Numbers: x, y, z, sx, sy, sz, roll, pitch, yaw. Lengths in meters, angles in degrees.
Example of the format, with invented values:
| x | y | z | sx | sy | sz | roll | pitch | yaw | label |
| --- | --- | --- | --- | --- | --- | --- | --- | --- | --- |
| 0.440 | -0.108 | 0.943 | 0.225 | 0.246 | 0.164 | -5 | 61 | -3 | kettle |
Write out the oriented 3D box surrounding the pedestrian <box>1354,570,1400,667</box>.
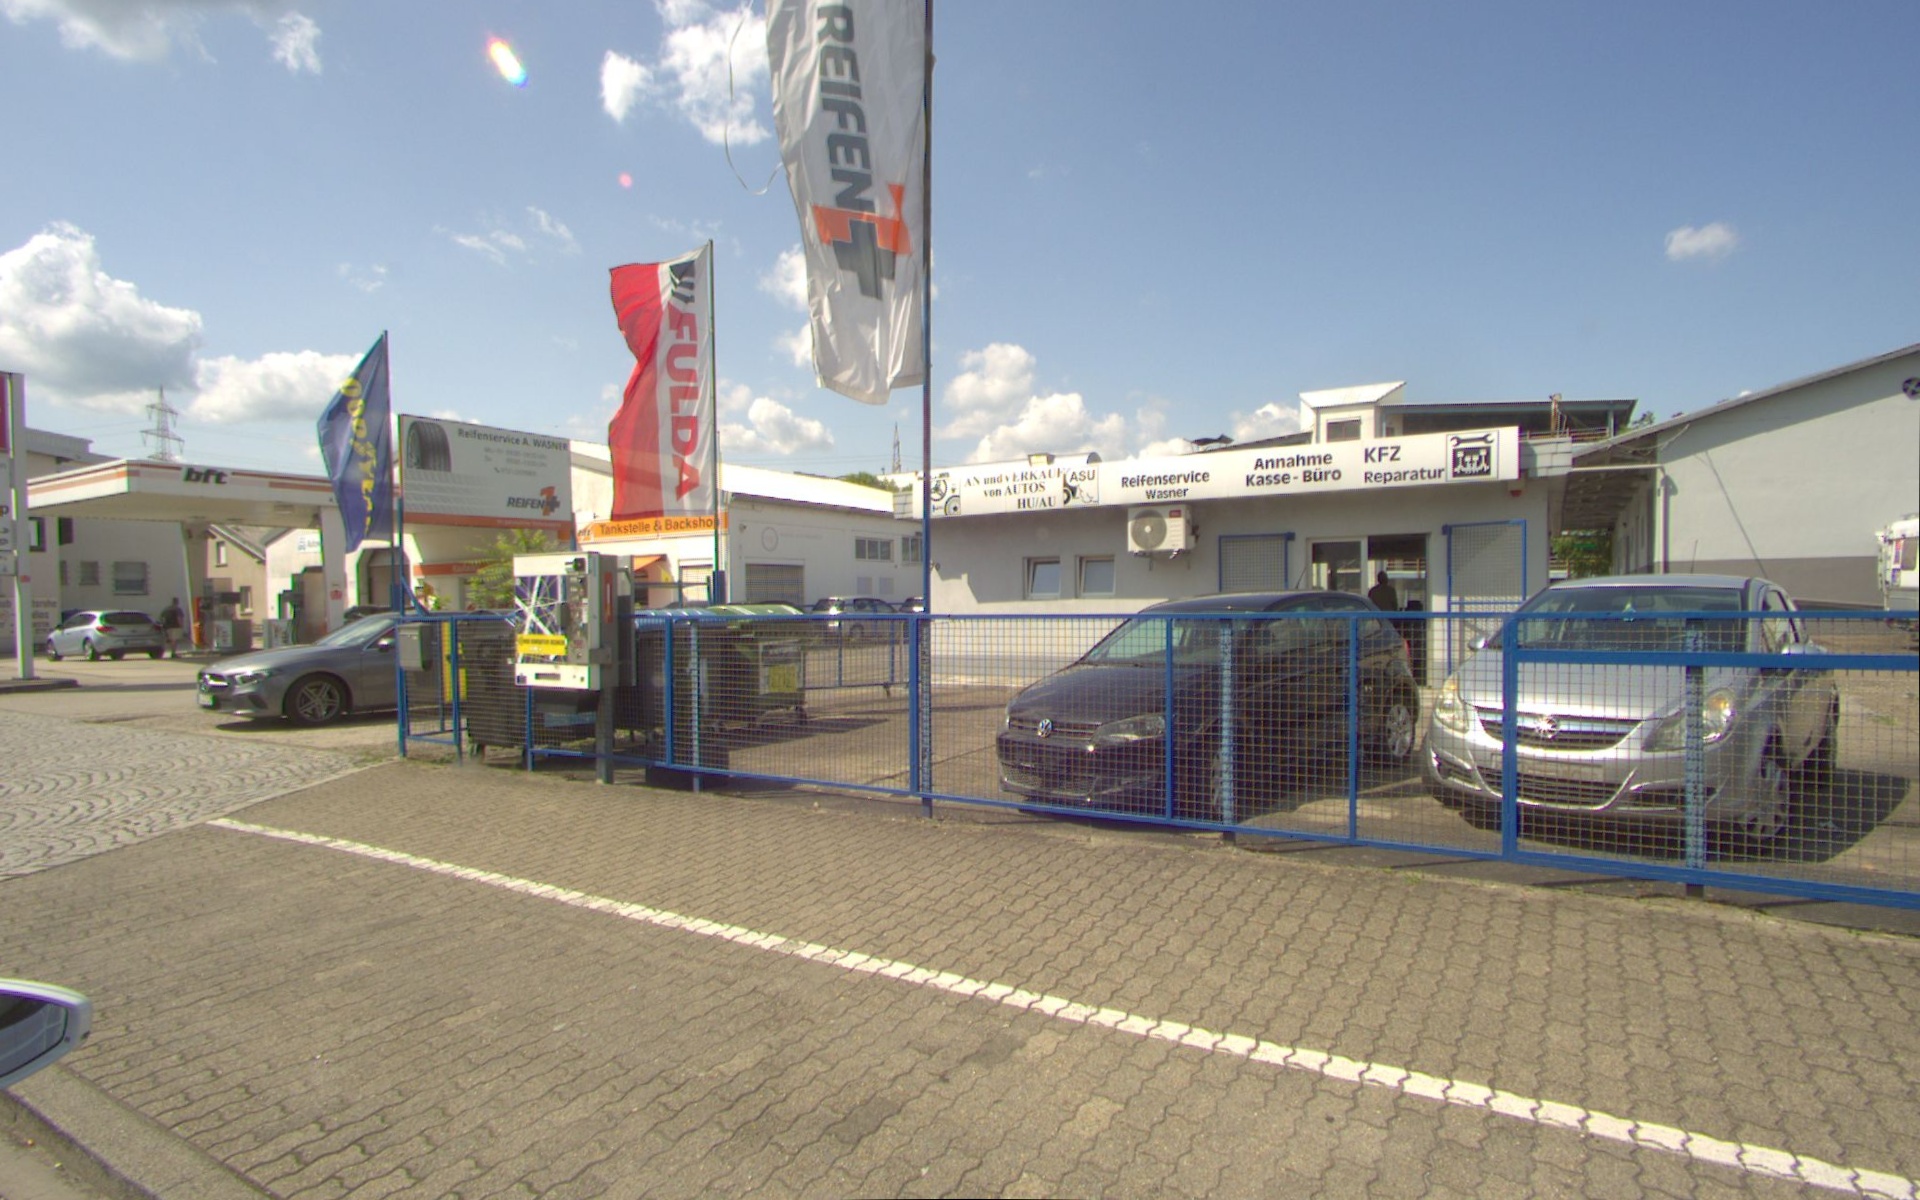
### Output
| x | y | z | sx | sy | sz | roll | pitch | yaw | label |
| --- | --- | --- | --- | --- | --- | --- | --- | --- | --- |
| 7.350 | 0.320 | 17.639 | 0.654 | 1.671 | 0.563 | 0 | 1 | 34 | pedestrian |

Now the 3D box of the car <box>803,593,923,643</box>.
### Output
| x | y | z | sx | sy | sz | roll | pitch | yaw | label |
| --- | --- | --- | --- | --- | --- | --- | --- | --- | --- |
| -3.016 | 0.527 | 32.045 | 1.564 | 1.482 | 4.187 | 0 | 0 | 33 | car |

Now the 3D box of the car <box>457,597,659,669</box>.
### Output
| x | y | z | sx | sy | sz | roll | pitch | yaw | label |
| --- | --- | --- | --- | --- | --- | --- | --- | --- | --- |
| -9.166 | 0.689 | 23.158 | 1.564 | 1.482 | 4.187 | 0 | 0 | 33 | car |

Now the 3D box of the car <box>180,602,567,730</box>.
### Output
| x | y | z | sx | sy | sz | roll | pitch | yaw | label |
| --- | --- | --- | --- | --- | --- | --- | --- | --- | --- |
| -7.765 | 0.761 | 13.664 | 1.652 | 1.434 | 4.259 | 0 | 0 | 36 | car |

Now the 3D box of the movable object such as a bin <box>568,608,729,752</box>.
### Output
| x | y | z | sx | sy | sz | roll | pitch | yaw | label |
| --- | --- | --- | --- | --- | --- | --- | --- | --- | --- |
| -3.329 | 0.802 | 10.732 | 1.225 | 1.415 | 1.106 | 0 | 1 | 31 | movable object such as a bin |

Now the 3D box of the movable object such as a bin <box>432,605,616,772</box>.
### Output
| x | y | z | sx | sy | sz | roll | pitch | yaw | label |
| --- | --- | --- | --- | --- | --- | --- | --- | --- | --- |
| -4.162 | 0.786 | 9.601 | 1.225 | 1.455 | 1.106 | 0 | 1 | 31 | movable object such as a bin |

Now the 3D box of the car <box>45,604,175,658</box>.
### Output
| x | y | z | sx | sy | sz | roll | pitch | yaw | label |
| --- | --- | --- | --- | --- | --- | --- | --- | --- | --- |
| -25.738 | 0.901 | 30.302 | 3.776 | 1.523 | 1.803 | -1 | 0 | 30 | car |

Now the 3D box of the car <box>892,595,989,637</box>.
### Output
| x | y | z | sx | sy | sz | roll | pitch | yaw | label |
| --- | --- | --- | --- | --- | --- | --- | --- | --- | --- |
| -0.640 | 0.535 | 35.730 | 1.564 | 1.385 | 3.860 | 0 | 0 | 33 | car |

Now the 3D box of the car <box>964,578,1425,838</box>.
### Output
| x | y | z | sx | sy | sz | roll | pitch | yaw | label |
| --- | --- | --- | --- | --- | --- | --- | --- | --- | --- |
| 1.912 | 0.601 | 7.511 | 3.655 | 1.472 | 1.625 | -1 | 0 | -43 | car |

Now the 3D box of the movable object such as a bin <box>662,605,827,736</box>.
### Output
| x | y | z | sx | sy | sz | roll | pitch | yaw | label |
| --- | --- | --- | --- | --- | --- | --- | --- | --- | --- |
| -2.535 | 0.782 | 11.897 | 1.318 | 1.414 | 1.400 | 0 | 1 | 31 | movable object such as a bin |

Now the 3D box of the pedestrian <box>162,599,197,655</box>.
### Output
| x | y | z | sx | sy | sz | roll | pitch | yaw | label |
| --- | --- | --- | --- | --- | --- | --- | --- | --- | --- |
| -23.777 | 0.801 | 30.512 | 0.698 | 1.679 | 0.546 | -1 | 1 | -22 | pedestrian |

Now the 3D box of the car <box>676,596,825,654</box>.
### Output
| x | y | z | sx | sy | sz | roll | pitch | yaw | label |
| --- | --- | --- | --- | --- | --- | --- | --- | --- | --- |
| -5.719 | 0.642 | 27.814 | 1.564 | 1.482 | 4.187 | 0 | 0 | 33 | car |

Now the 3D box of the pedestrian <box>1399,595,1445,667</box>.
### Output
| x | y | z | sx | sy | sz | roll | pitch | yaw | label |
| --- | --- | --- | --- | --- | --- | --- | --- | --- | --- |
| 8.045 | 0.533 | 17.432 | 0.654 | 1.225 | 0.563 | 0 | 1 | 34 | pedestrian |

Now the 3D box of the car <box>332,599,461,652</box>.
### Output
| x | y | z | sx | sy | sz | roll | pitch | yaw | label |
| --- | --- | --- | --- | --- | --- | --- | --- | --- | --- |
| -17.310 | 0.748 | 30.719 | 3.777 | 1.523 | 1.803 | -1 | 0 | 31 | car |

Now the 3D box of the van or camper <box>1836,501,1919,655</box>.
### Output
| x | y | z | sx | sy | sz | roll | pitch | yaw | label |
| --- | --- | --- | --- | --- | --- | --- | --- | --- | --- |
| 21.013 | -0.453 | 19.522 | 5.571 | 3.005 | 2.264 | 0 | 1 | 31 | van or camper |

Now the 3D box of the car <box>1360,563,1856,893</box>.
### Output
| x | y | z | sx | sy | sz | roll | pitch | yaw | label |
| --- | --- | --- | --- | --- | --- | --- | --- | --- | --- |
| 4.270 | 0.561 | 6.374 | 3.729 | 1.472 | 1.757 | -1 | 0 | -42 | car |
